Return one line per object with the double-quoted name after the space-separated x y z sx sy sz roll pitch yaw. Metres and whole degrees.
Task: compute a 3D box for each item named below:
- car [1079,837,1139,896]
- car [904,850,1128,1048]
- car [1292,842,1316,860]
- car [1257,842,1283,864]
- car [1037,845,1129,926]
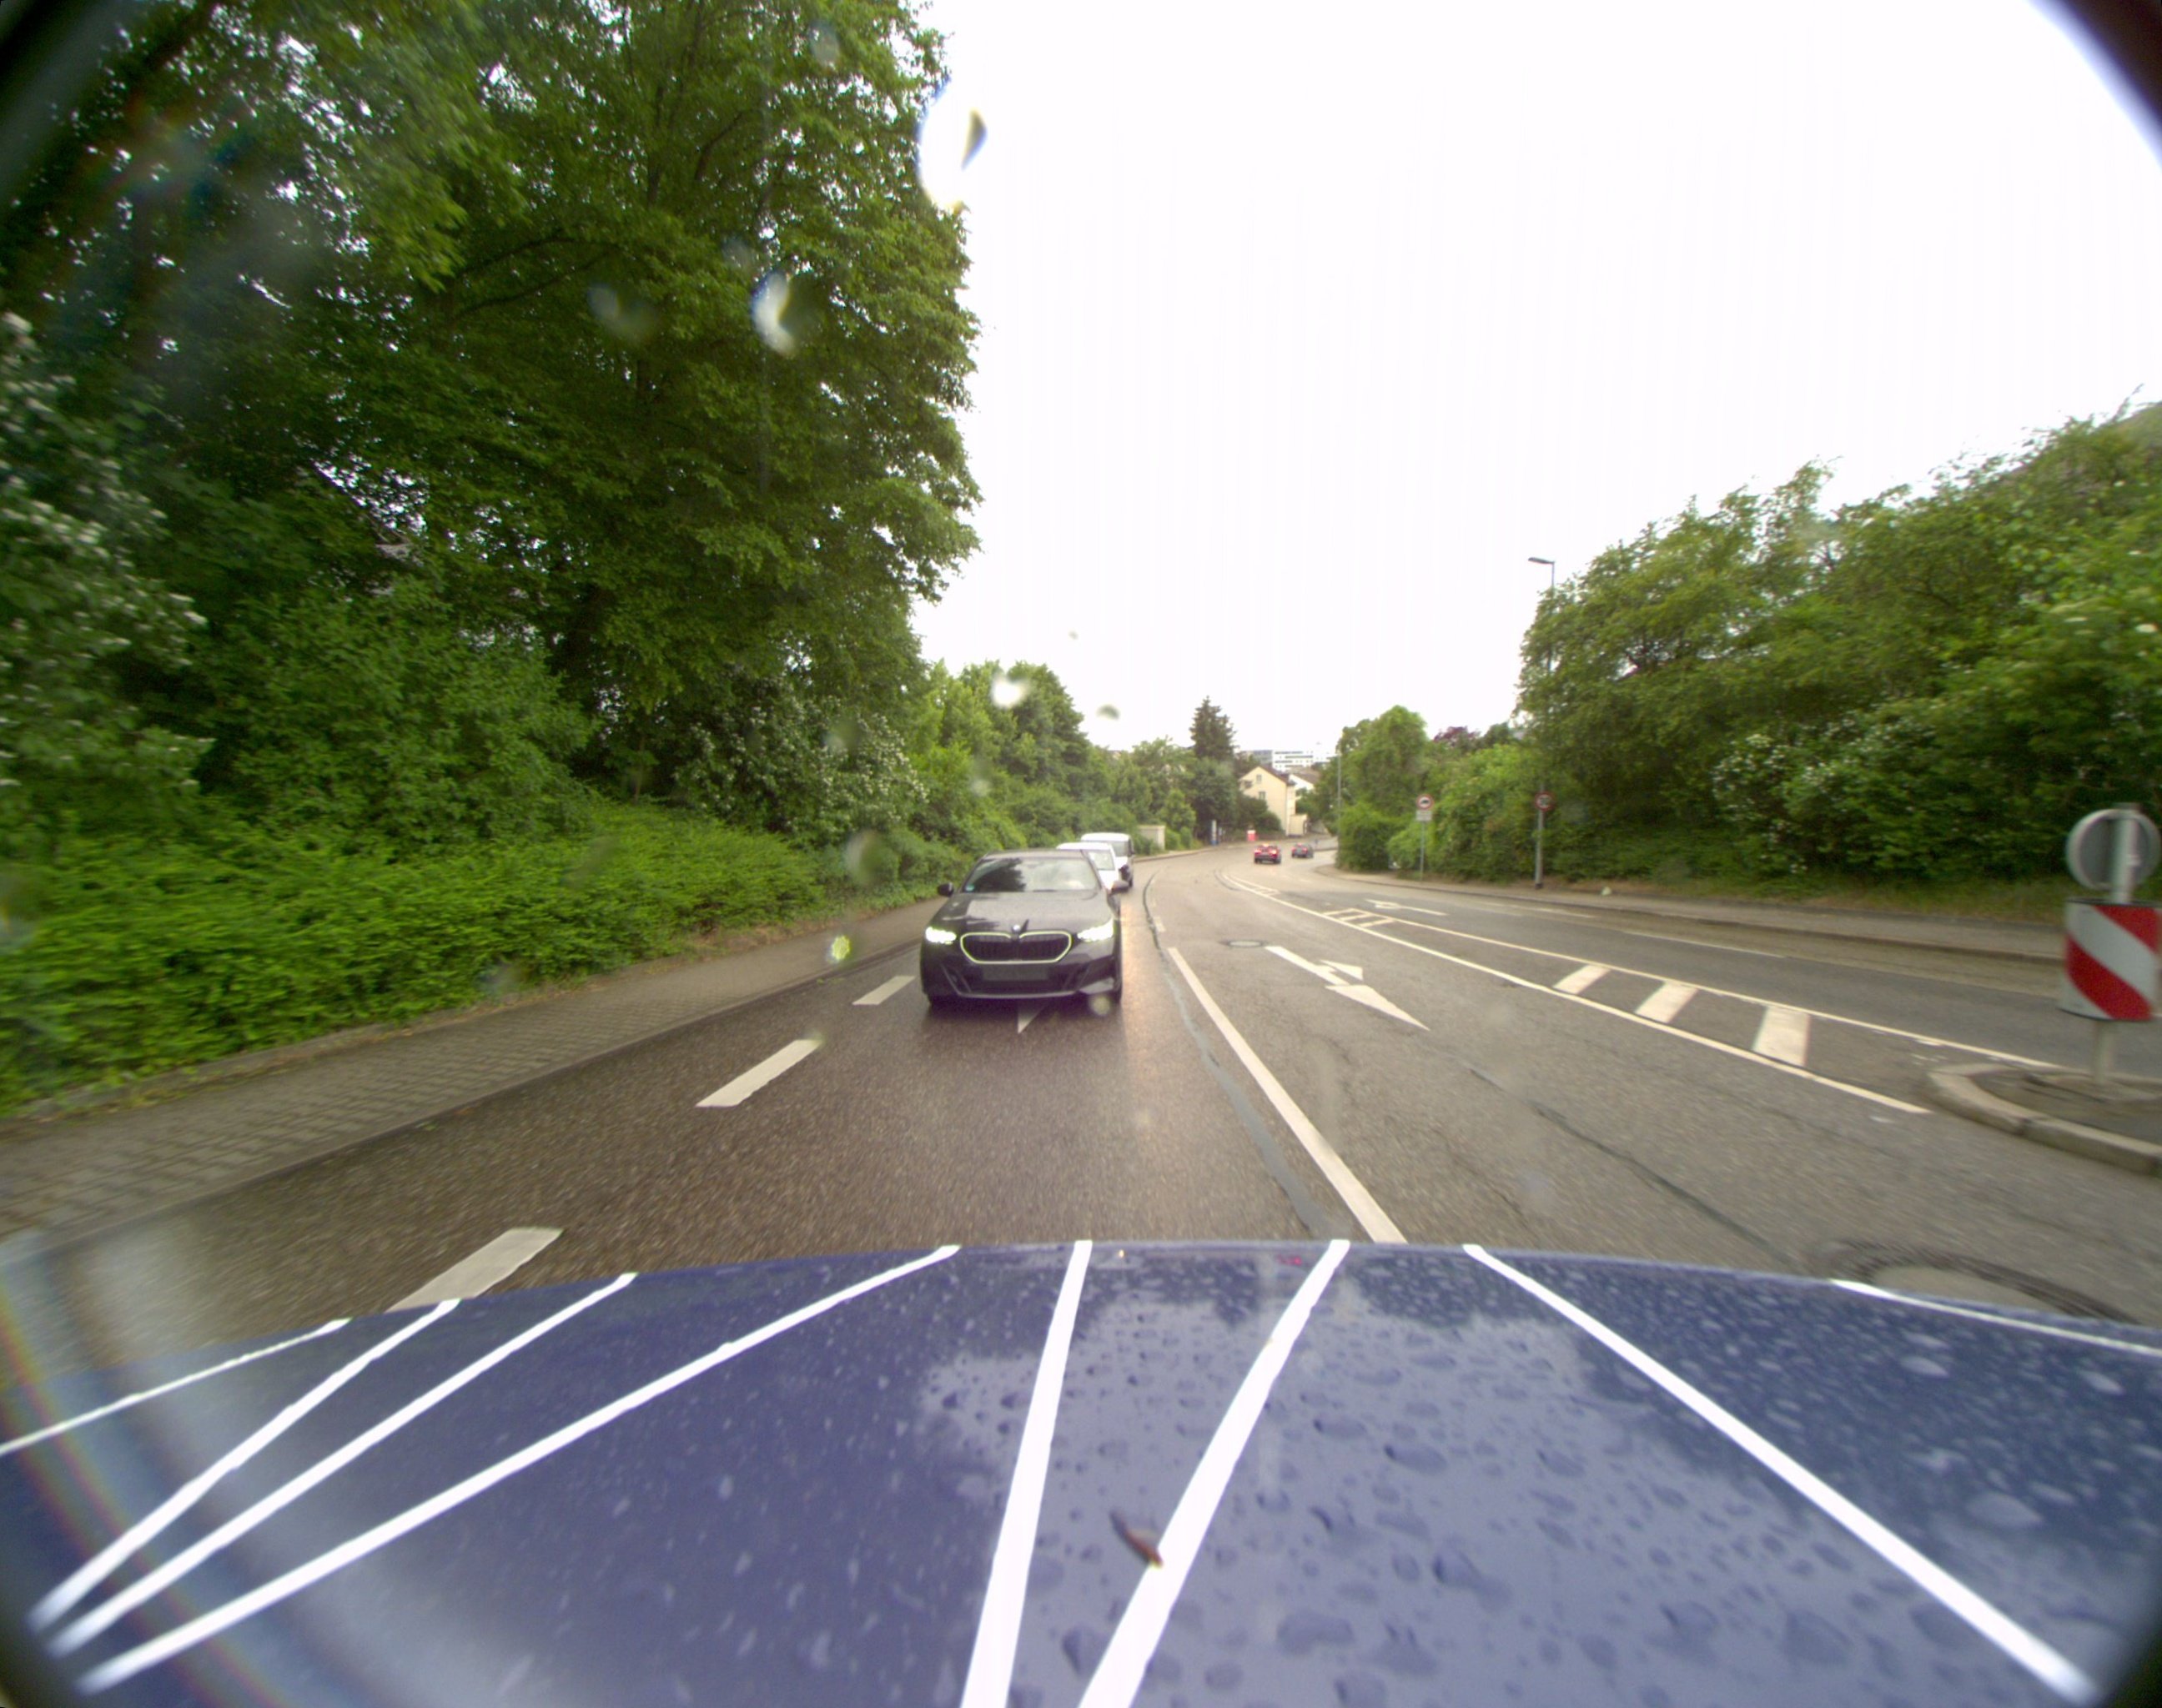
0.989 0.326 25.042 1.814 1.797 4.120 0 1 4 "car"
-0.517 0.791 8.425 1.867 1.547 4.118 0 2 1 "car"
25.230 -0.360 85.886 2.128 2.002 4.092 1 1 23 "car"
17.145 -0.123 68.791 1.958 1.835 4.005 2 1 19 "car"
0.072 0.602 17.121 1.814 1.547 4.118 0 1 1 "car"
